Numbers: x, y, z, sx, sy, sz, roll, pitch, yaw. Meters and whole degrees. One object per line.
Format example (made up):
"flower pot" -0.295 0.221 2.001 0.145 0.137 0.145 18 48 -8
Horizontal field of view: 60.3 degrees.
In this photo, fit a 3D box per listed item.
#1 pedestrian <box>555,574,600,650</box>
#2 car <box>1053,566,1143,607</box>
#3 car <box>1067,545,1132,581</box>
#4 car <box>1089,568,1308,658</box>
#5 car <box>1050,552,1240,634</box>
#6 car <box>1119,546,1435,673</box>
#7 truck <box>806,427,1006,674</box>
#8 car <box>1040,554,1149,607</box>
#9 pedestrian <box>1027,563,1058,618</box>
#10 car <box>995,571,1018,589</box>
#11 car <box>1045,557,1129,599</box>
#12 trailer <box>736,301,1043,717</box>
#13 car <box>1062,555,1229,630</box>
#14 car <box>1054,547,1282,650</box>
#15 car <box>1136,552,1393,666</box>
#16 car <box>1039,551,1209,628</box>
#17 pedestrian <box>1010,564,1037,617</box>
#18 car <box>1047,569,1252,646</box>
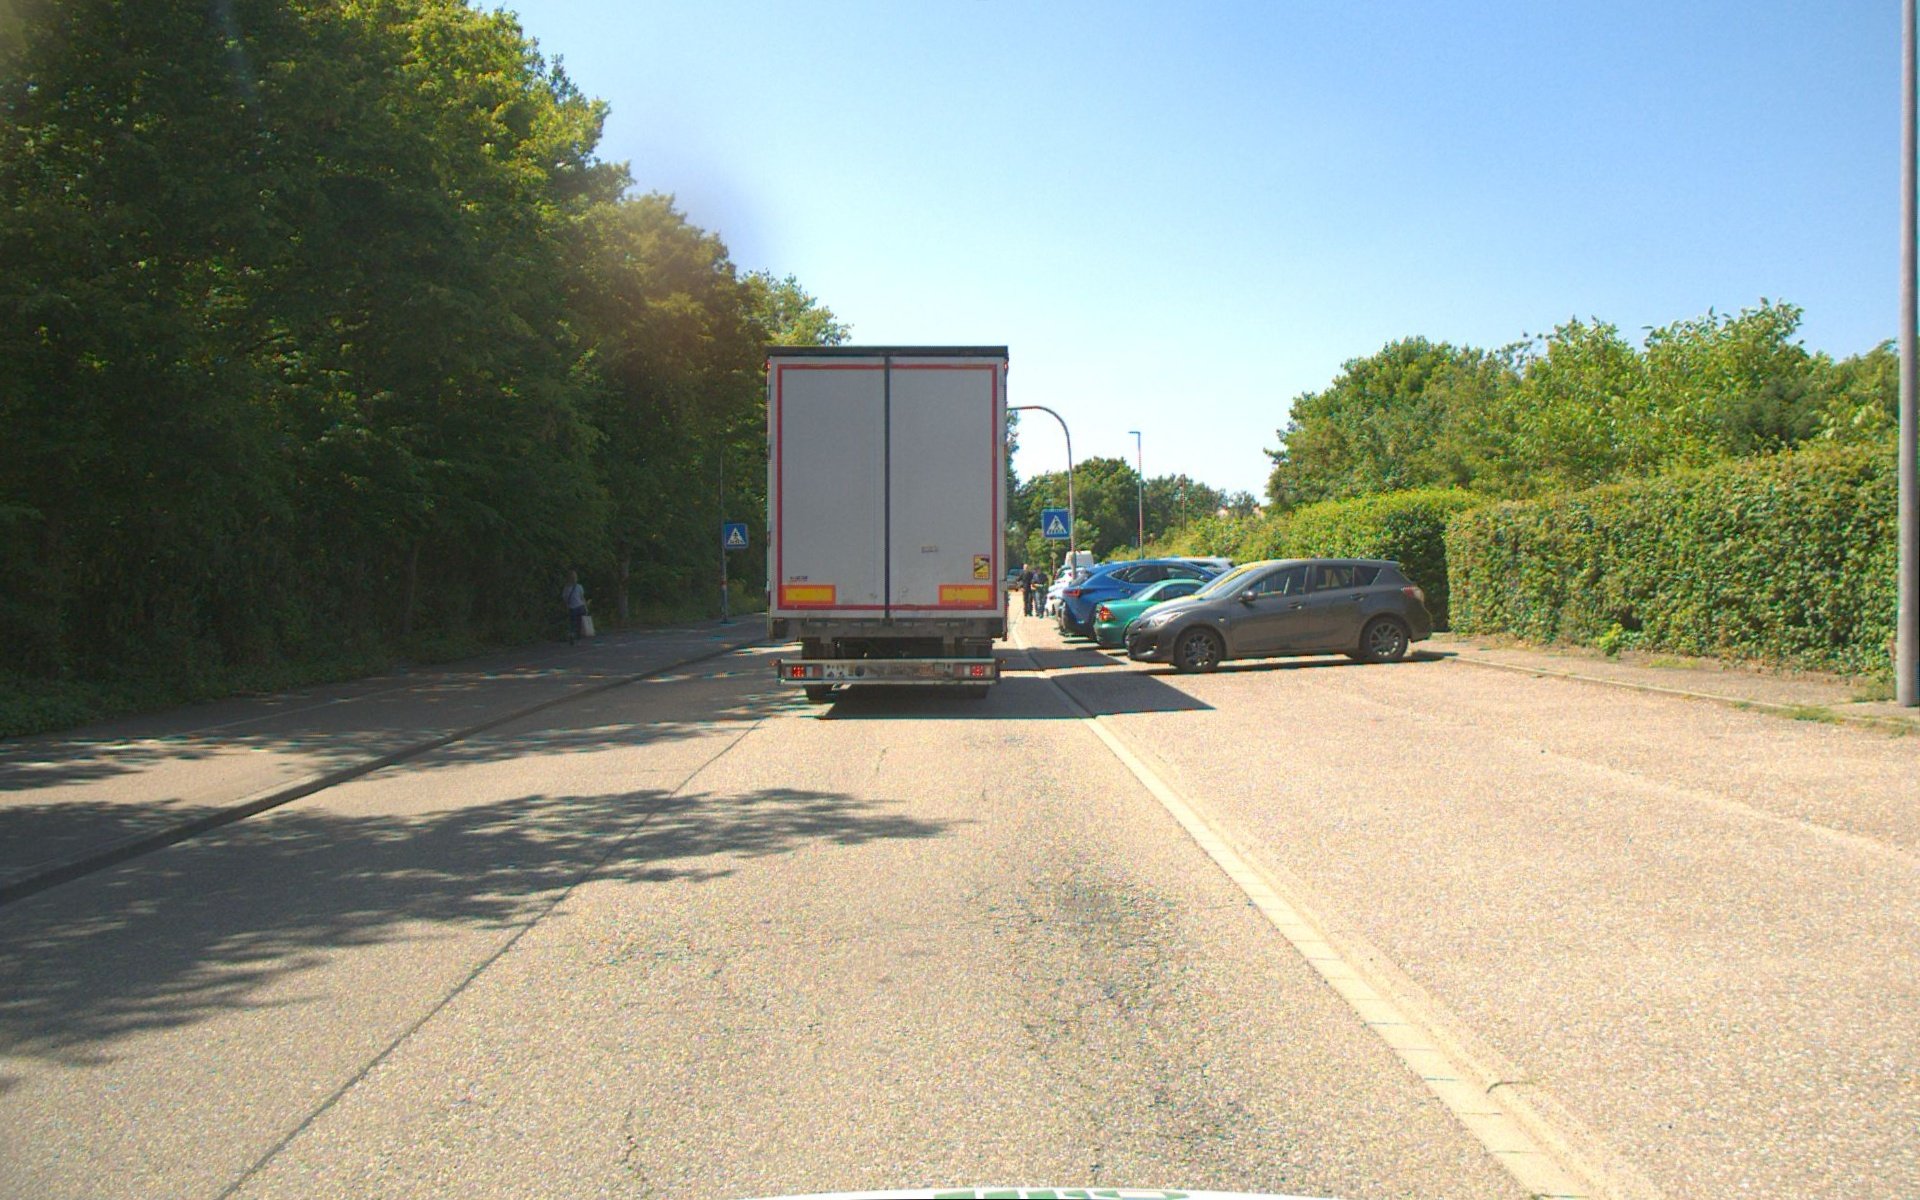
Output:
"pedestrian" -8.424 0.254 36.407 0.811 1.651 0.783 0 1 -2
"car" 6.384 -0.647 76.825 3.878 1.647 1.812 -3 1 -3
"car" 8.711 -2.297 103.488 3.874 1.829 1.814 -5 -1 3
"car" 4.241 0.213 29.825 3.659 1.290 1.628 -5 0 1
"car" 4.270 -0.156 38.639 4.150 1.682 1.899 -3 -1 -2
"car" 4.449 0.118 23.654 4.080 1.521 1.882 -3 0 -1
"truck" -0.870 -0.829 29.123 3.050 3.790 6.413 -1 1 -1
"car" 5.194 -0.770 64.203 3.882 1.696 1.811 -5 3 -7
"pedestrian" 2.884 -0.328 57.683 0.888 1.829 0.936 -5 0 6
"car" 4.146 -1.824 147.343 1.745 1.512 3.998 -1 1 -3
"car" 6.341 -1.114 82.848 3.878 1.796 1.812 -4 1 -3
"trailer" -0.798 -1.022 22.691 3.049 4.174 11.535 -1 1 -1
"car" 4.752 -0.207 42.727 4.041 1.686 1.887 -3 1 0
"car" 4.033 -0.043 32.580 4.153 1.662 1.823 -4 1 -1
"car" 4.861 0.128 26.750 3.725 1.480 1.774 -5 0 -1
"car" 4.435 -0.299 45.267 4.317 1.727 1.876 -5 0 -2
"pedestrian" 2.319 -0.361 60.701 0.804 1.866 0.793 -5 0 6
"car" 4.039 0.132 35.627 4.051 1.464 1.812 -2 1 -7
